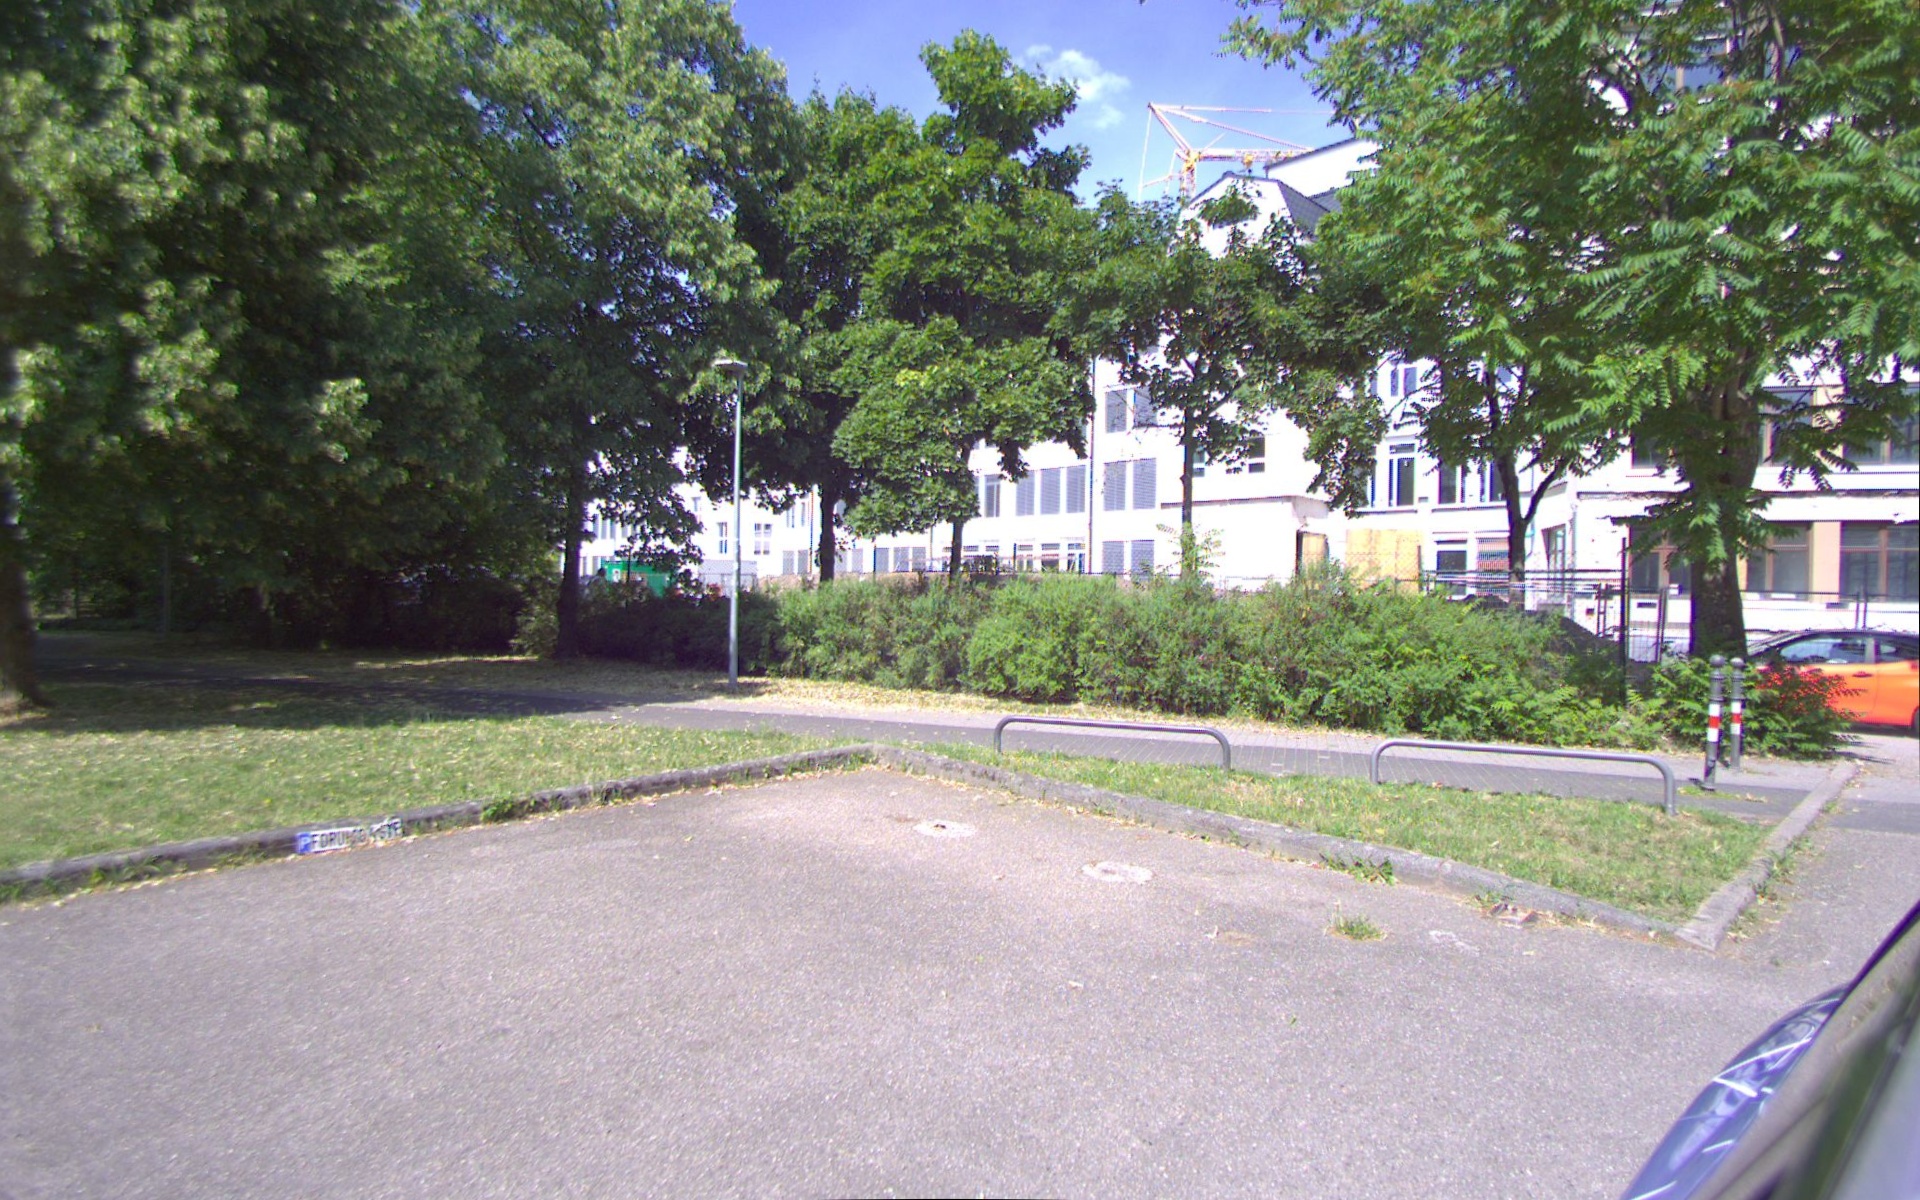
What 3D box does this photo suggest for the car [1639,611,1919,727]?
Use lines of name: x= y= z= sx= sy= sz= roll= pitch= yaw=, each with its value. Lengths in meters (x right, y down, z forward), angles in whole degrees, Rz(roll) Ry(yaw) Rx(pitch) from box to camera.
car: x=12.637 y=0.977 z=14.933 sx=4.139 sy=1.430 sz=1.645 roll=3 pitch=0 yaw=29
